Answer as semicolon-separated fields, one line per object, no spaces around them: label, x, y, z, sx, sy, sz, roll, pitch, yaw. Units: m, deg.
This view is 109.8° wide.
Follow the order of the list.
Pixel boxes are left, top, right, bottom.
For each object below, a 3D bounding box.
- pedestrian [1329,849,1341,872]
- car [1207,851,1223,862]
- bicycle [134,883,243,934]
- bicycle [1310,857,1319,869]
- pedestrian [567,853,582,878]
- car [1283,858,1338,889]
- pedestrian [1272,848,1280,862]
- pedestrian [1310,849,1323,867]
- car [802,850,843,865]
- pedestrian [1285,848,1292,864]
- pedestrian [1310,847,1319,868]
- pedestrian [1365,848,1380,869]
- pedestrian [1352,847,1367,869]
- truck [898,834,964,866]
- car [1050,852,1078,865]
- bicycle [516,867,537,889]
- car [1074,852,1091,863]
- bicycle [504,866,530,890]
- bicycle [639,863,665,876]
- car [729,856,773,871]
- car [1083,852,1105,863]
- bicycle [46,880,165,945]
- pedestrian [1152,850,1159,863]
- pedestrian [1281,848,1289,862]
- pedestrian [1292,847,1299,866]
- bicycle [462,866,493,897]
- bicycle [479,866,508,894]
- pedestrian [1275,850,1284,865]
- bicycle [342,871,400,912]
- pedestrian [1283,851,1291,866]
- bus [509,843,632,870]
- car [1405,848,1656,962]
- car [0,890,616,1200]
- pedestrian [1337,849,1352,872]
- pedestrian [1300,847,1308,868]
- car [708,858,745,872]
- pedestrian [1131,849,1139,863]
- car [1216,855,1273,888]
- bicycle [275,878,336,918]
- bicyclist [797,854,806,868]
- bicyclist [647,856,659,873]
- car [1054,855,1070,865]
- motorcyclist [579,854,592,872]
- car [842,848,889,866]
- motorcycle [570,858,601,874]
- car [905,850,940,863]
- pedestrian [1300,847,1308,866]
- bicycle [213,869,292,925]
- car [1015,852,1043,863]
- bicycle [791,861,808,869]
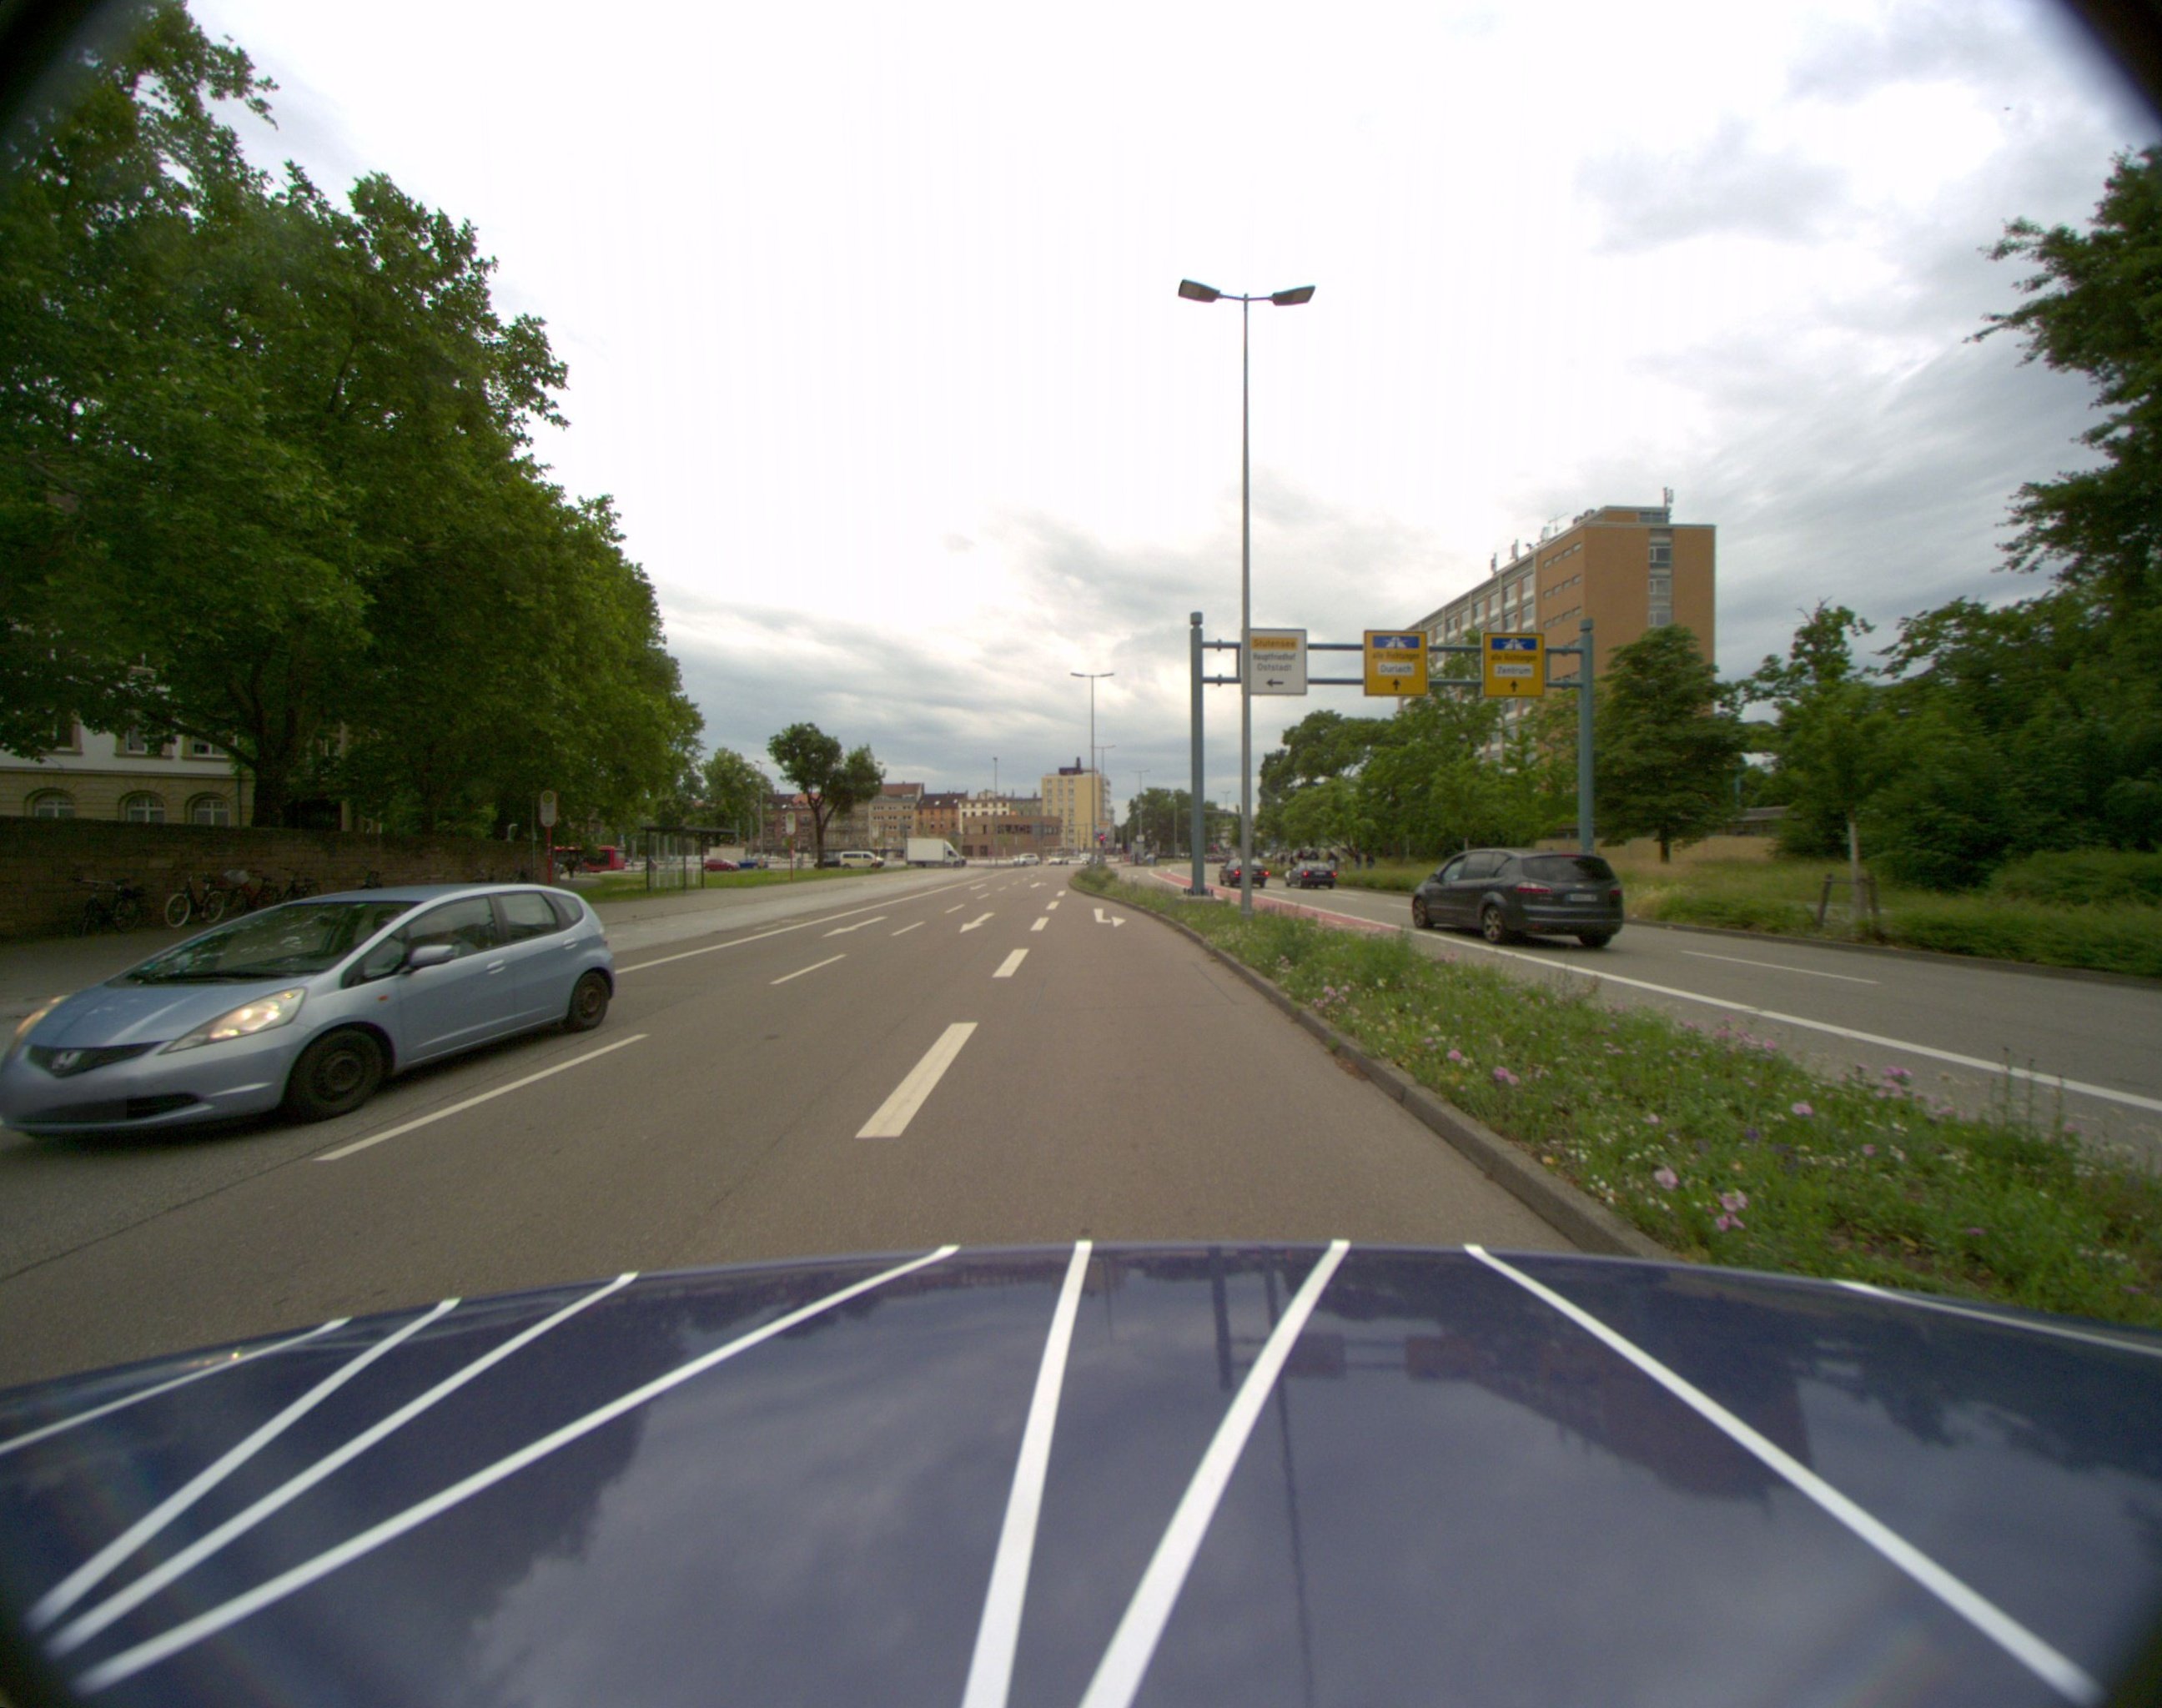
pedestrian;18.311;0.440;54.816;0.587;1.650;0.720;1;0;-5
car;23.010;0.420;130.278;1.812;1.657;3.955;1;1;23
bicycle;-19.030;1.133;16.263;0.656;0.945;1.767;1;0;-17
bicycle;18.612;0.701;60.641;0.661;0.882;1.717;1;0;16
pedestrian;-34.590;0.789;51.899;0.759;1.725;0.820;0;1;-39
car;11.310;0.929;37.659;1.612;1.373;3.808;1;0;1
pedestrian;23.324;0.103;90.820;0.708;1.661;0.943;-1;0;4
pedestrian;21.449;0.404;69.186;0.635;1.603;0.829;-2;0;-21
car;-30.333;0.427;89.203;4.282;1.628;1.690;1;0;1
pedestrian;23.502;0.182;86.048;0.638;1.790;0.762;-1;0;4
pedestrian;18.617;0.291;60.637;0.661;1.622;0.764;1;0;16
pedestrian;18.504;0.284;48.257;0.646;1.354;0.680;1;0;-2
pedestrian;17.713;0.260;48.286;0.646;1.350;0.711;1;0;-1
truck;-16.773;-0.496;85.361;6.852;3.393;2.559;-1;2;-5
car;-2.265;0.603;102.106;1.834;1.753;3.920;1;0;35
bicycle;-26.365;1.129;36.149;0.552;0.986;1.633;1;0;-28
car;0.265;0.564;116.129;1.863;1.557;4.004;1;0;13
bicycle;-25.652;1.085;34.578;0.596;1.053;1.709;1;0;-25
bicycle;-46.150;1.669;81.737;2.391;1.316;0.764;1;0;-6
car;-38.842;1.124;89.555;4.429;1.735;1.764;1;0;-3
car;1.692;0.472;100.665;1.838;1.465;3.717;1;0;19
bicycle;-18.443;1.071;14.426;0.722;1.093;1.788;1;0;-28
pedestrian;9.856;0.337;100.118;0.777;1.657;0.706;1;0;-8
pedestrian;24.372;0.073;90.819;0.708;1.661;0.890;-2;0;4
pedestrian;19.601;0.243;69.422;0.622;1.685;0.747;1;0;17
bicycle;-23.666;1.071;29.821;0.596;1.129;1.709;1;0;-25
bicycle;-24.288;1.062;31.441;0.596;1.123;1.709;1;0;-25
pedestrian;19.889;0.367;76.198;0.730;1.471;0.813;1;0;4
bicycle;-20.502;1.053;21.983;0.599;1.098;1.652;1;0;-19
pedestrian;20.665;0.421;76.229;0.637;1.471;0.762;1;0;4
bus;-59.456;0.321;88.697;12.091;2.891;2.937;-1;0;-3
car;7.726;0.754;13.687;1.925;1.655;4.398;1;1;1
car;-5.636;1.132;5.956;1.671;1.457;3.659;-1;1;0
pedestrian;19.030;0.449;54.858;0.709;1.663;0.767;1;0;-5
pedestrian;17.764;0.271;60.416;0.575;1.599;0.617;1;0;16
car;-39.409;1.215;84.520;3.431;1.372;1.288;-1;-7;-5
pedestrian;7.025;0.270;99.615;0.917;1.794;0.541;1;1;17
car;8.128;0.825;38.206;1.768;1.452;4.791;1;1;0
bicycle;-20.098;1.124;19.713;0.417;0.937;1.523;1;0;-17
bicyclist;-30.308;0.784;82.416;0.740;1.499;0.767;1;0;-10
bicyclist;-46.075;1.154;81.744;0.896;1.849;0.764;1;0;-5
car;-2.425;0.735;97.046;1.785;1.255;3.830;-1;1;1
motorcyclist;-52.705;0.960;80.827;0.918;1.818;0.928;1;0;-12
car;-24.123;0.344;85.123;4.712;1.909;1.919;-1;3;-3
motorcycle;-52.713;1.275;80.846;2.515;1.592;0.928;1;0;-12
car;-18.910;0.306;90.521;4.035;1.466;1.818;1;0;-14
pedestrian;20.354;0.241;69.396;0.579;1.702;0.763;1;0;19
bicycle;-19.579;0.988;18.001;0.501;1.214;1.624;1;0;-17
car;-6.512;0.444;95.113;1.514;1.382;3.439;1;0;38
bicycle;-30.511;1.187;82.375;1.695;0.910;0.767;1;0;-10
